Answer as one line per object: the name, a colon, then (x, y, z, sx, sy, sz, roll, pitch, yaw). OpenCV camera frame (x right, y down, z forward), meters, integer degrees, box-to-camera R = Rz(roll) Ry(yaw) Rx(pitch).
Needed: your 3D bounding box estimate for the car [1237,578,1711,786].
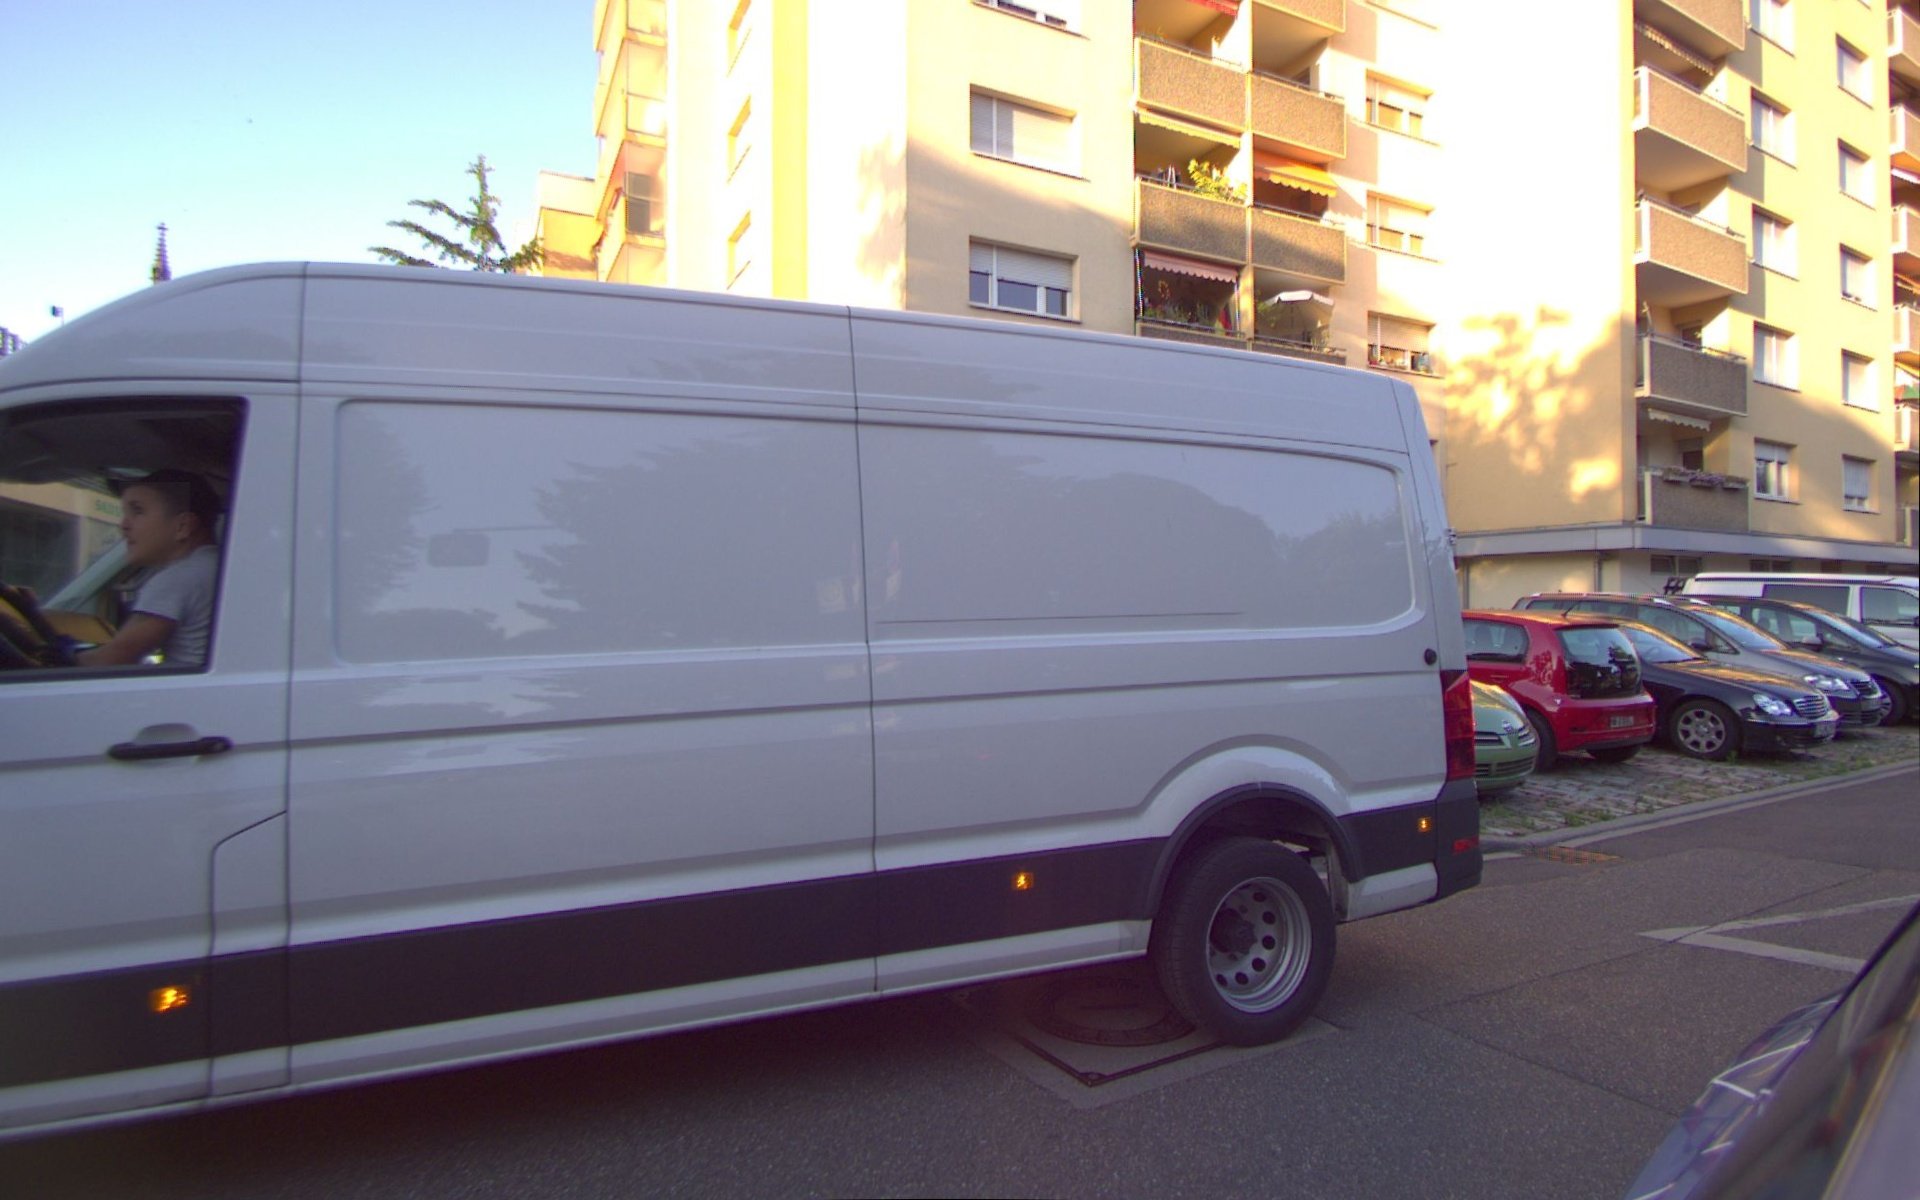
car: (5.325, 0.673, 11.215, 1.808, 1.651, 4.427, 0, 3, -27)

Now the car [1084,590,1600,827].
car: (3.305, 0.762, 9.692, 1.810, 1.651, 4.421, -2, 2, -32)

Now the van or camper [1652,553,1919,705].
van or camper: (14.397, 0.376, 16.126, 2.000, 2.194, 5.156, -1, 3, -31)

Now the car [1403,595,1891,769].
car: (7.795, 0.767, 11.972, 1.810, 1.550, 4.421, -2, 2, -32)

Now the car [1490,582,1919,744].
car: (9.856, 0.669, 13.727, 1.810, 1.681, 4.422, -2, 3, -32)

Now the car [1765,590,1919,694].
car: (16.635, 0.688, 17.072, 1.809, 1.651, 4.422, -2, 2, -30)

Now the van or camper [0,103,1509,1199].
van or camper: (-1.112, 0.160, 3.863, 6.269, 2.652, 2.003, -1, -2, -22)

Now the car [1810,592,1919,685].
car: (18.434, 0.698, 18.229, 1.809, 1.612, 4.422, -2, 2, -30)

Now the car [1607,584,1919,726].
car: (12.166, 0.676, 14.706, 1.747, 1.681, 4.344, -2, 3, -32)

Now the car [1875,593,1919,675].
car: (20.655, 0.695, 19.293, 1.809, 1.582, 4.422, -2, 2, -30)

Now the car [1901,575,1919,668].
car: (22.676, 0.471, 20.724, 1.809, 2.006, 4.657, -2, 2, -30)
